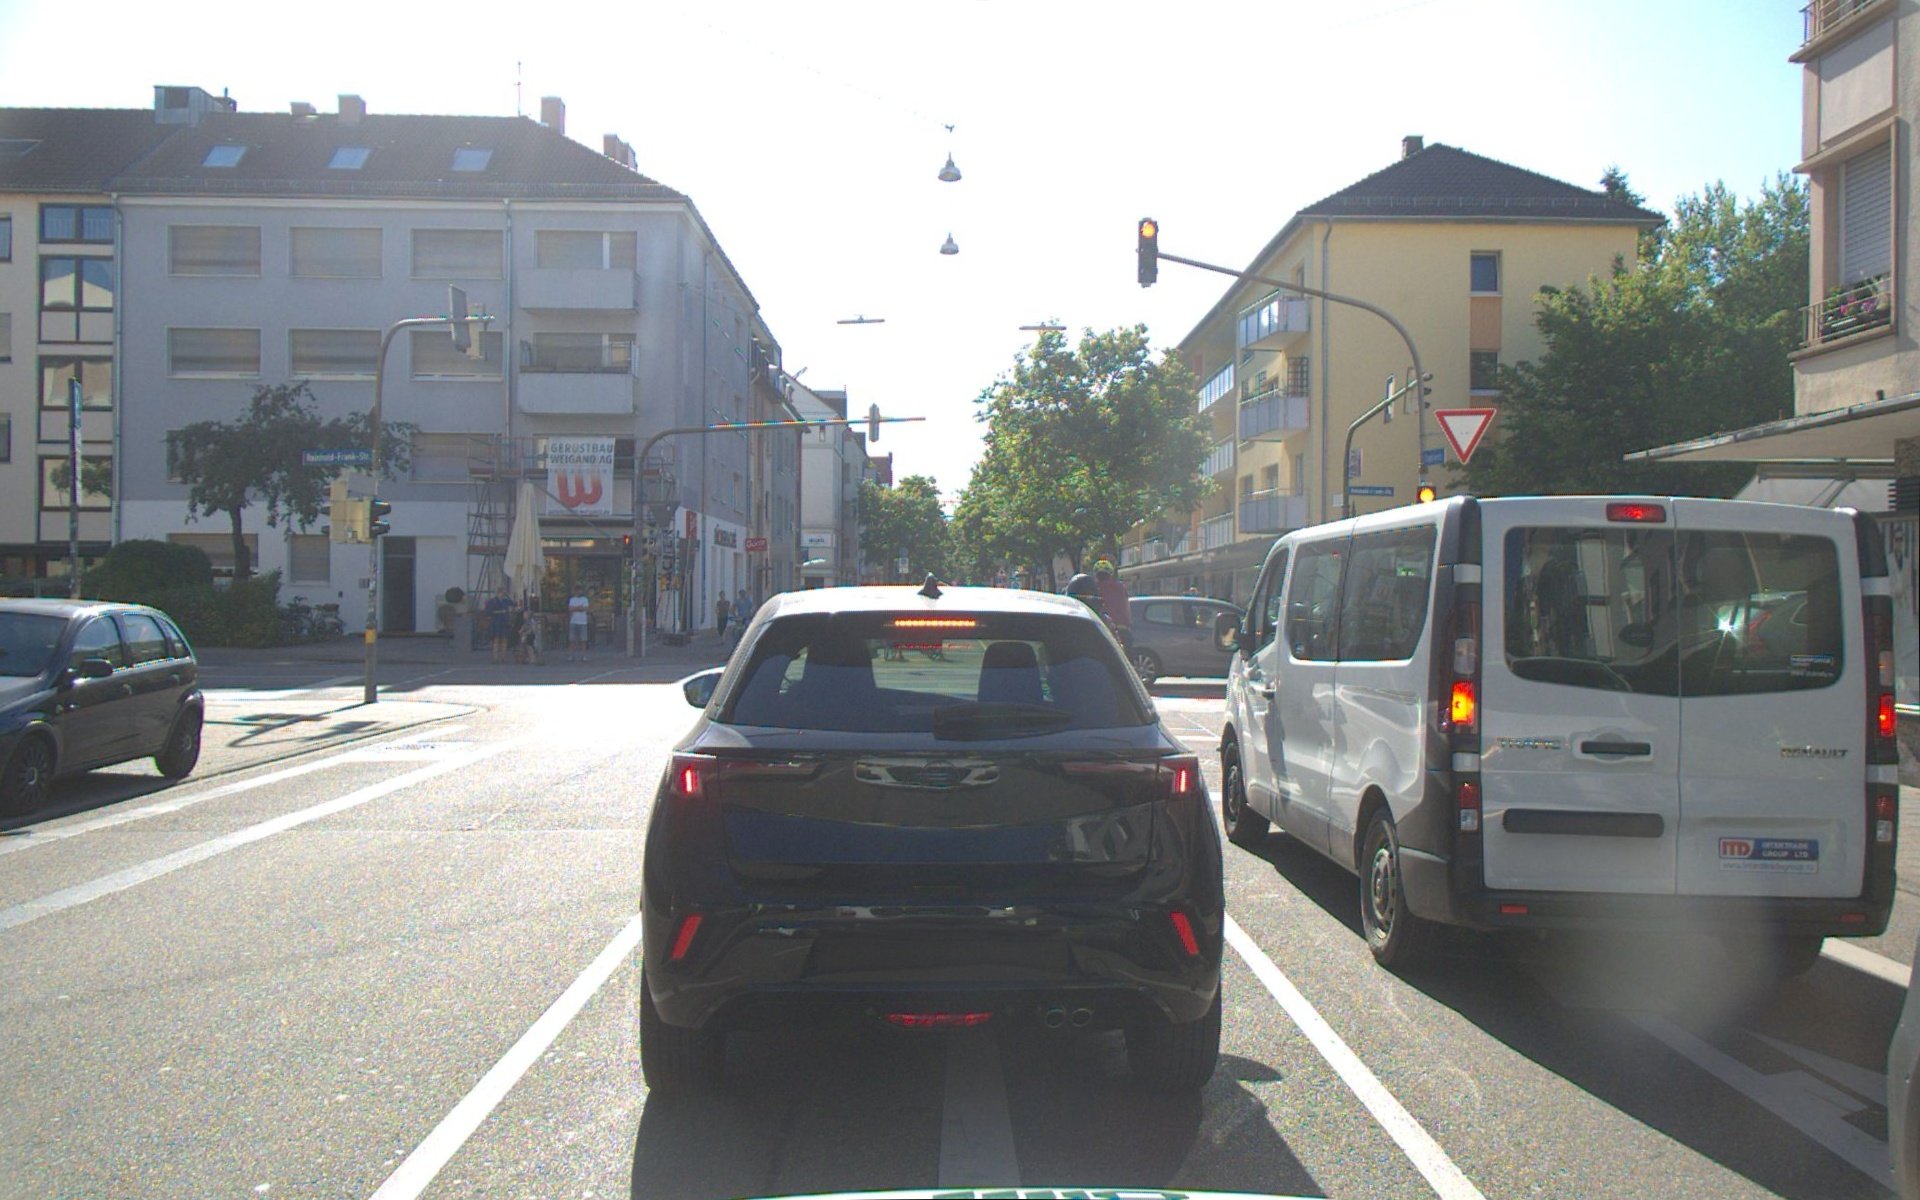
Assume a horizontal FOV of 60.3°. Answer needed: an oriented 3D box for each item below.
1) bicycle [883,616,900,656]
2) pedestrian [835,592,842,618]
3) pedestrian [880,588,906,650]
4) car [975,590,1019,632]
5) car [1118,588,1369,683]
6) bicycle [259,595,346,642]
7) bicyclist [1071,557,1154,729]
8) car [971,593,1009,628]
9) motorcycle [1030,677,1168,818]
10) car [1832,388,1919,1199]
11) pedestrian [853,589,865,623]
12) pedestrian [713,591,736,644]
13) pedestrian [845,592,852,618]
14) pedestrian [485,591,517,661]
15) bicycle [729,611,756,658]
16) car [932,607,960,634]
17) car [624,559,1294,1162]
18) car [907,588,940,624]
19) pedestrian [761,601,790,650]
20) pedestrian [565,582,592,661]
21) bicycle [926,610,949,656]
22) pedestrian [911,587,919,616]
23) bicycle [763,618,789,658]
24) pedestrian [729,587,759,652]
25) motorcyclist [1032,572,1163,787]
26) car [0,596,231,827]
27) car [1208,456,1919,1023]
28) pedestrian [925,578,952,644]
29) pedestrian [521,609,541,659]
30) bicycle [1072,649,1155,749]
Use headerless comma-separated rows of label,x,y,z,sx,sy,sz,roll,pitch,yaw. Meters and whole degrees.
bicycle,-1.829,0.931,43.908,0.434,1.010,2.068,0,0,-3
pedestrian,-7.920,0.337,107.942,0.394,1.704,0.417,0,0,-1
pedestrian,-1.766,0.495,43.714,0.666,1.634,0.762,0,0,-3
car,1.587,0.443,71.703,1.863,1.758,4.073,0,0,0
car,4.737,0.581,28.021,3.906,1.512,1.833,-1,0,-1
bicycle,-16.910,0.469,42.539,2.067,1.193,0.735,0,0,-25
bicyclist,1.596,0.433,17.515,0.675,1.742,1.413,0,0,-3
car,1.529,0.513,85.442,1.863,1.758,4.000,0,0,0
motorcycle,0.979,1.040,12.135,0.808,0.860,1.884,0,0,-1
car,2.984,0.535,1.226,1.800,1.901,4.993,1,0,-4
pedestrian,-5.107,0.286,83.665,0.558,1.719,0.588,0,0,3
pedestrian,-6.949,0.512,48.844,0.605,1.547,0.724,0,0,-4
pedestrian,-7.259,0.346,107.542,0.394,1.704,0.417,0,0,-1
pedestrian,-10.349,0.581,37.288,0.573,1.547,0.649,0,0,-4
bicycle,-5.746,0.897,43.802,0.511,1.167,2.282,0,0,-3
car,-0.907,1.359,111.091,1.787,1.758,4.000,0,0,1
car,-0.080,0.675,6.311,1.735,1.557,3.998,1,0,-3
car,-2.081,0.346,95.371,1.817,2.049,3.880,0,0,-1
pedestrian,-4.845,0.660,43.485,0.692,1.275,0.802,0,0,-3
pedestrian,-8.743,0.489,37.933,0.550,1.806,0.582,1,0,-9
bicycle,-0.601,0.850,43.658,0.511,1.167,2.169,0,0,-3
pedestrian,-2.648,0.073,97.011,0.478,1.719,0.588,0,0,-1
bicycle,-4.868,0.988,43.786,0.511,1.010,2.338,0,0,-3
pedestrian,-5.687,0.502,43.590,0.692,1.707,0.802,0,0,-3
motorcyclist,1.005,0.565,12.350,0.846,1.528,1.159,0,0,-2
car,-7.078,0.726,12.413,1.584,1.450,3.709,2,0,-1
car,2.705,0.511,8.494,1.953,2.014,4.894,2,0,-2
pedestrian,-0.572,0.281,43.561,0.692,1.731,0.802,0,0,-3
pedestrian,-9.676,0.755,37.280,0.348,1.111,0.461,0,0,-4
bicycle,1.607,1.023,17.620,0.565,0.920,2.300,0,0,-3
